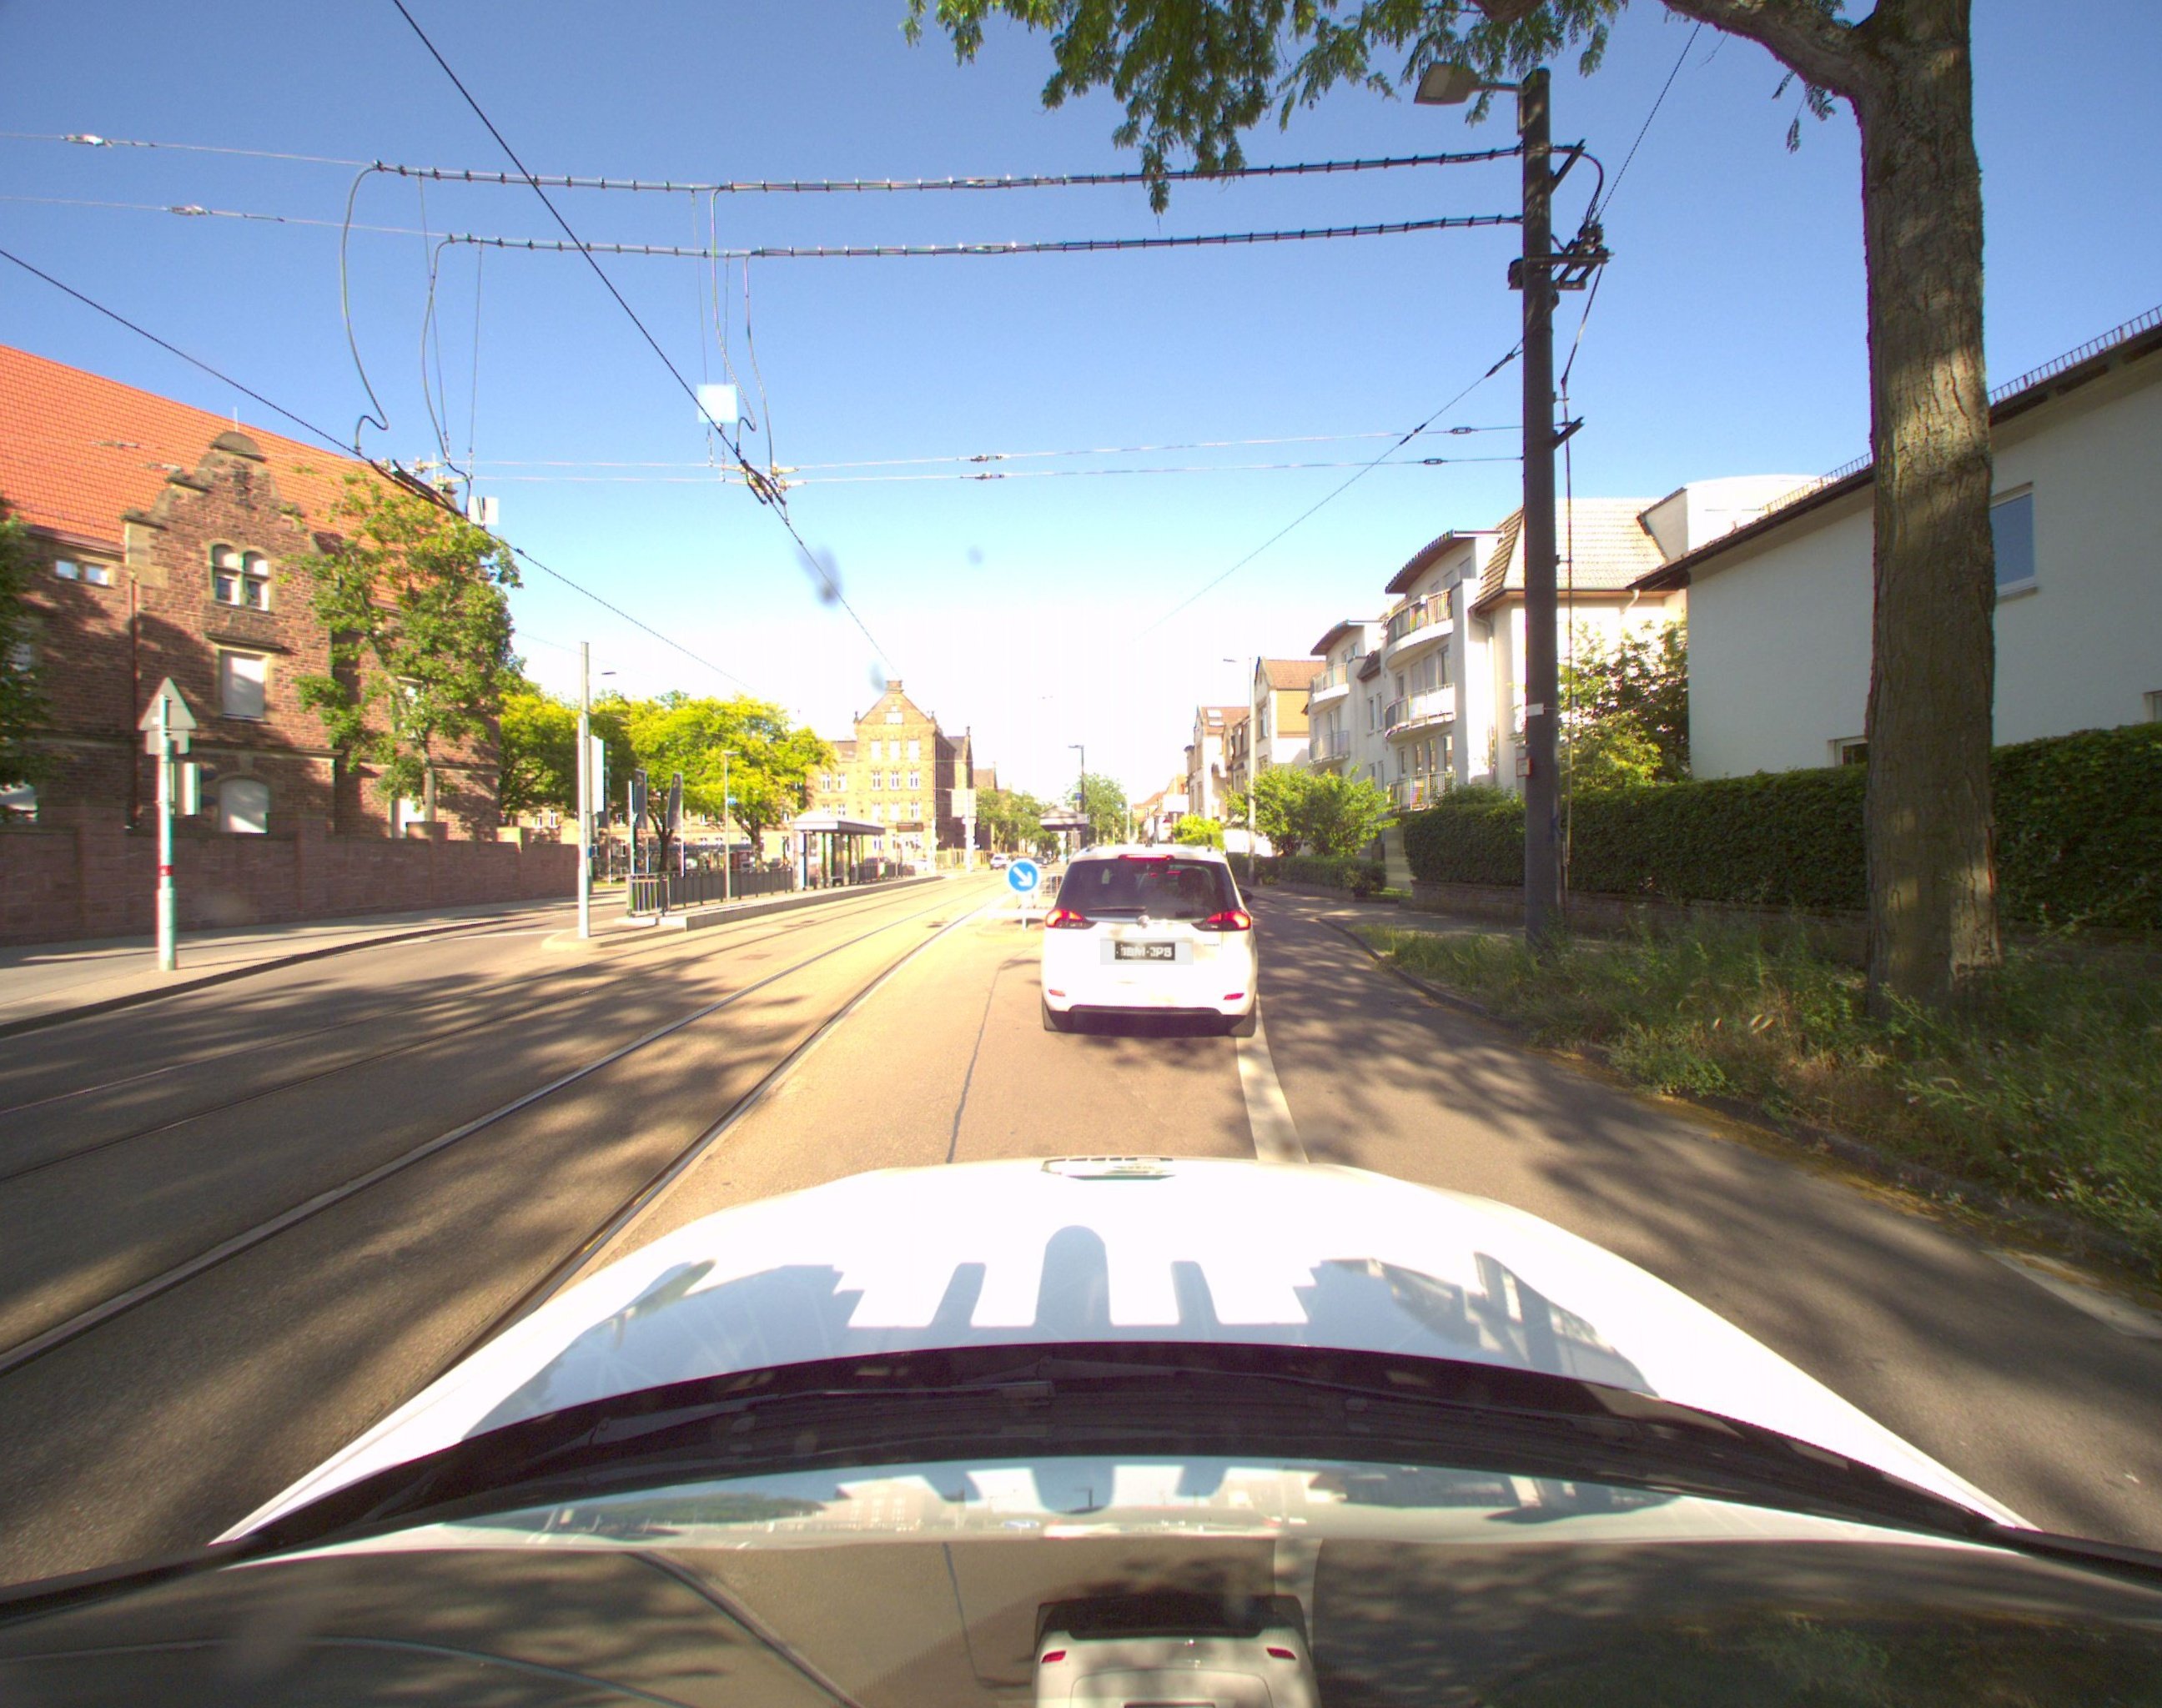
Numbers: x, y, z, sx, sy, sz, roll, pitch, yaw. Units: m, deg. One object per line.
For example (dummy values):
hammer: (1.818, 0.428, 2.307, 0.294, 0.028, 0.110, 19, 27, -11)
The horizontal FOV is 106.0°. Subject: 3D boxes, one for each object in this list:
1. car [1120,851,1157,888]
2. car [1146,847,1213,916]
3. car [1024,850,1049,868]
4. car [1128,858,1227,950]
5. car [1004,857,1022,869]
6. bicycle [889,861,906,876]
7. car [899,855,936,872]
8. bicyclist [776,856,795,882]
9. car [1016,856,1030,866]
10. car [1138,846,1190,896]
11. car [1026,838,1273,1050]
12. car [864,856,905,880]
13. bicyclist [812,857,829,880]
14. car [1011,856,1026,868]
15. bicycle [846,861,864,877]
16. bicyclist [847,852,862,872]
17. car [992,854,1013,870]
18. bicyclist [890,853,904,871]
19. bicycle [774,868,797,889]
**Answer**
car: (2.658, 0.694, 38.358, 1.590, 1.635, 3.902, 1, 0, 2)
car: (2.564, 0.645, 21.103, 1.560, 1.614, 3.792, 1, 0, 7)
car: (-5.244, 0.600, 96.204, 1.999, 2.013, 3.976, -1, 0, -18)
car: (1.776, 0.805, 14.865, 1.560, 1.401, 3.792, 1, 0, 7)
car: (-8.798, 1.129, 106.043, 1.791, 1.382, 4.496, -1, 0, 1)
bicycle: (-15.736, 1.203, 69.828, 0.773, 1.231, 2.093, -1, 0, 7)
car: (-18.692, 1.097, 93.162, 3.986, 1.809, 1.698, -1, 0, -10)
bicyclist: (-16.572, 0.837, 45.659, 0.651, 1.459, 1.151, -1, 0, -3)
car: (-8.852, 1.091, 124.262, 1.822, 1.446, 4.325, -1, -1, -1)
car: (2.916, 0.578, 29.237, 1.590, 1.635, 3.903, 1, 0, 2)
car: (0.768, 0.676, 8.192, 1.868, 1.585, 4.008, 0, 0, 7)
car: (-13.654, 0.929, 56.699, 1.812, 1.607, 4.357, -1, 0, -1)
bicyclist: (-16.644, 0.909, 52.070, 0.650, 1.459, 1.153, -1, 0, 4)
car: (-8.952, 1.197, 116.682, 1.822, 1.617, 4.324, -1, -1, -2)
bicycle: (-17.330, 1.116, 62.506, 0.813, 1.198, 1.952, -1, 0, -1)
bicyclist: (-17.340, 0.587, 62.419, 0.754, 1.470, 1.190, -1, 0, 0)
car: (-9.164, 0.897, 94.973, 1.820, 1.788, 4.257, -1, 0, 2)
bicyclist: (-15.776, 0.696, 69.771, 0.756, 1.536, 1.351, -2, -1, 7)
bicycle: (-16.559, 1.344, 45.662, 0.683, 1.089, 2.060, -1, 0, -4)
